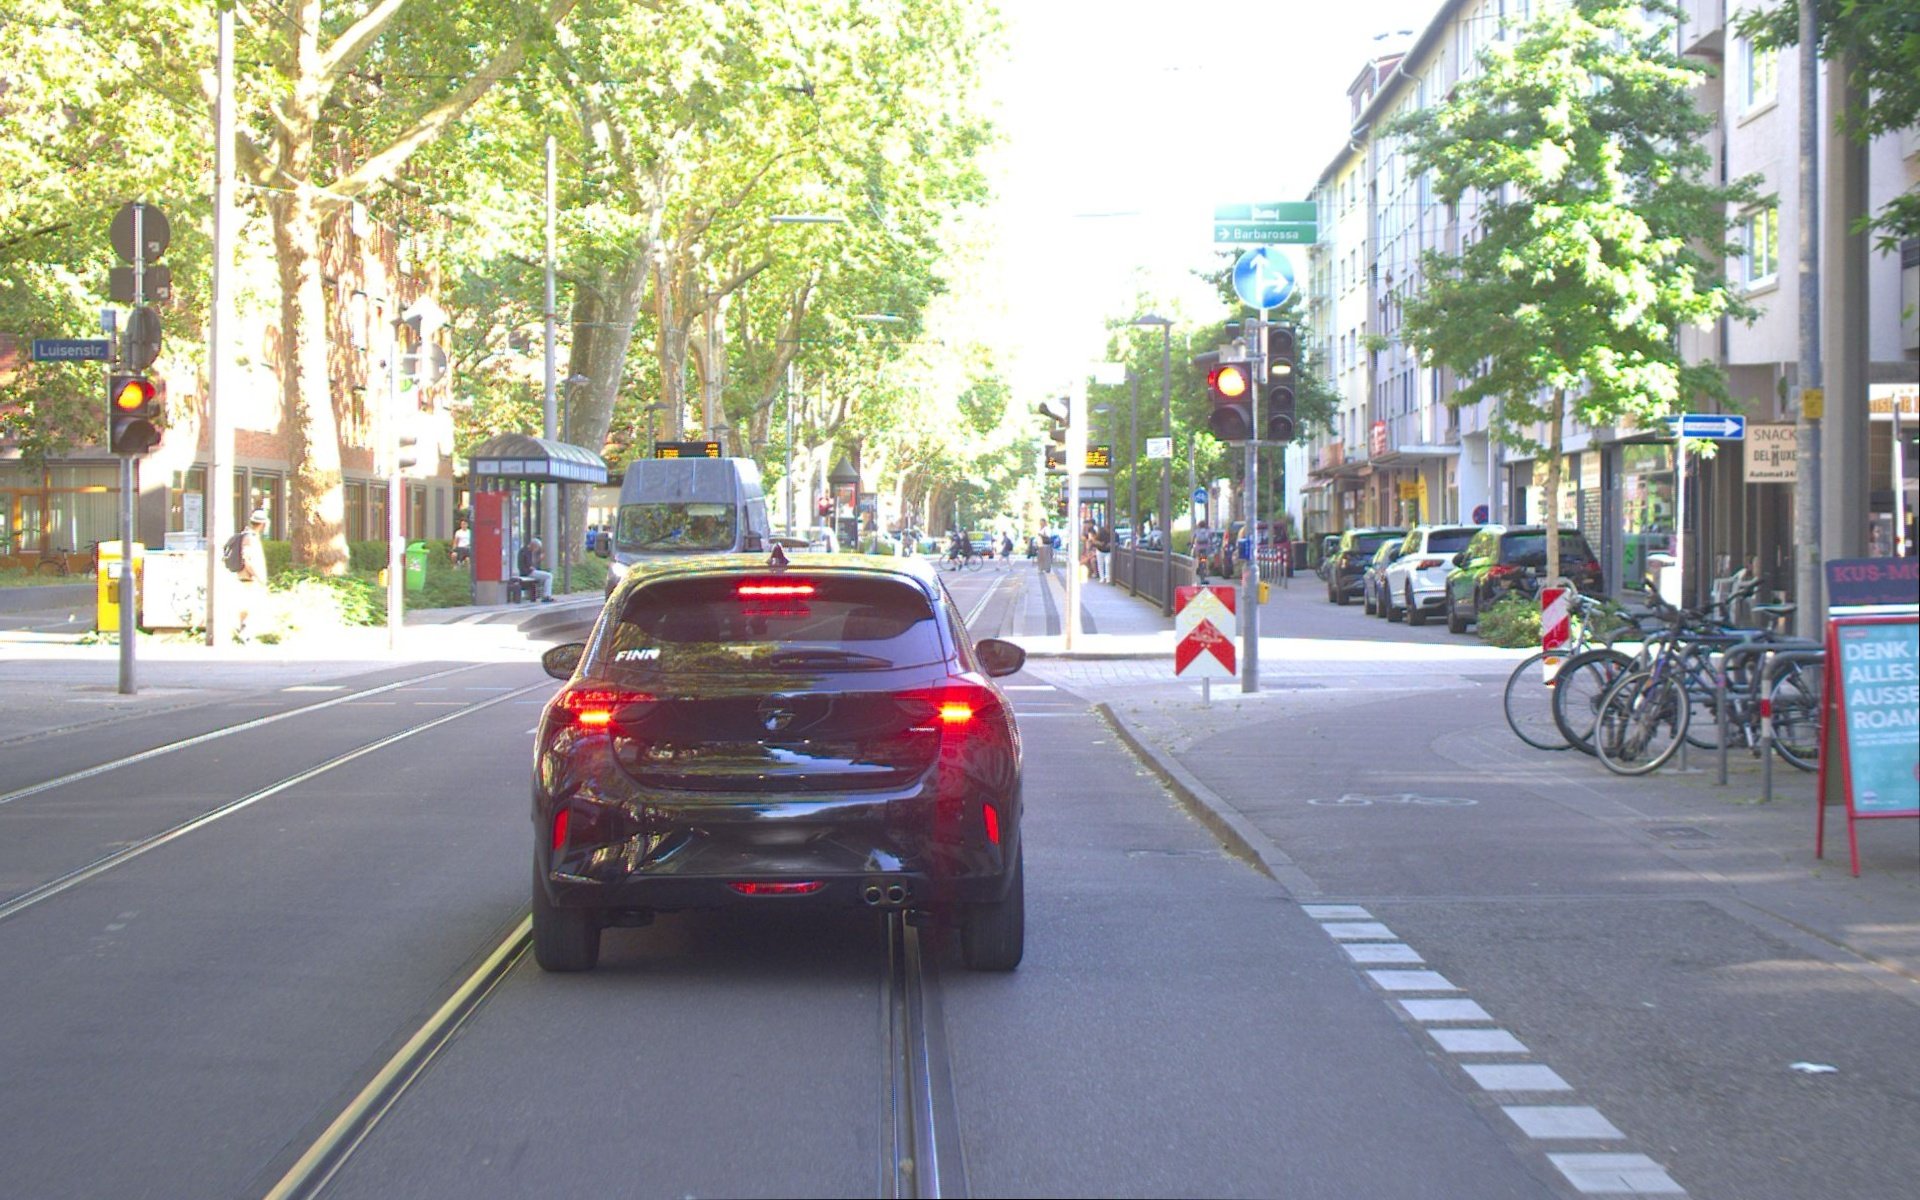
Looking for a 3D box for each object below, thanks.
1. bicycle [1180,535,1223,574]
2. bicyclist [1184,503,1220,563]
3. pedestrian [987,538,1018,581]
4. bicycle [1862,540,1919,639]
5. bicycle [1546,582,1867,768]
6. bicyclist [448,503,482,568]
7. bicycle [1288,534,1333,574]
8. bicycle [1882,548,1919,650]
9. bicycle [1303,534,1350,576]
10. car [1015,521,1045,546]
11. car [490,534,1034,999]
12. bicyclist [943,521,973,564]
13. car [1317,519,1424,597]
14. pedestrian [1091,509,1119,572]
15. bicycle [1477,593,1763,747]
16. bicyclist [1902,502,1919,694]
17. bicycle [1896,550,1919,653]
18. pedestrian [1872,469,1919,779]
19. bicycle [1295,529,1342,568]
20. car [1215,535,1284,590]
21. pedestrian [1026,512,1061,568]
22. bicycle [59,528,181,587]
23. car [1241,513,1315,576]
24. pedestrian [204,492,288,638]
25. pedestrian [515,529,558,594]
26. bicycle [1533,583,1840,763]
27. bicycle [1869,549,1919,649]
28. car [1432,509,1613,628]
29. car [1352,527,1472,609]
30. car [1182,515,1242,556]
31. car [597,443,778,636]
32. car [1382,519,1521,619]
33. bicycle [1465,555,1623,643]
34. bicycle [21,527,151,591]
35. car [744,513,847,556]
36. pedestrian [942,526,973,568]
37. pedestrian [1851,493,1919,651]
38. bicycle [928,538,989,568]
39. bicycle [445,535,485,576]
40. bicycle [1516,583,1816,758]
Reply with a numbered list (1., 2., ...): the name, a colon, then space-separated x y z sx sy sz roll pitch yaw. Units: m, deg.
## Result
1. bicycle: 7.111 -1.353 101.360 0.861 1.132 2.396 1 1 -5
2. bicyclist: 7.129 -1.976 101.349 0.861 1.753 1.054 1 1 -5
3. pedestrian: 1.747 -1.676 141.844 1.163 1.742 0.958 1 1 -4
4. bicycle: 12.205 -0.138 42.611 1.914 1.203 0.511 -1 1 -2
5. bicycle: 4.485 0.446 20.708 1.815 1.096 0.525 0 1 1
6. bicyclist: -13.444 -1.753 93.360 0.774 1.744 0.997 1 1 -1
7. bicycle: 9.887 -1.301 97.091 0.602 1.132 2.435 1 1 -10
8. bicycle: 12.165 -0.025 41.525 1.914 1.203 0.511 -1 2 -2
9. bicycle: 10.060 -1.232 94.429 0.621 1.132 2.440 1 1 -10
10. car: 4.368 -4.166 215.056 1.745 1.539 4.000 1 1 0
11. car: -0.674 0.518 13.061 1.759 1.503 3.683 0 1 -1
12. bicyclist: -0.083 -2.411 144.235 1.163 1.742 0.958 1 1 -4
13. car: 8.835 -0.909 74.243 1.857 1.610 4.398 1 1 1
14. pedestrian: 3.724 -1.527 88.284 0.631 1.571 0.870 2 1 1
15. bicycle: 4.430 0.467 23.128 1.815 0.991 0.481 1 1 -1
16. bicyclist: 8.908 -0.018 30.824 0.677 1.711 0.965 1 1 3
17. bicycle: 12.179 0.002 40.983 1.914 1.203 0.511 -1 2 -2
18. pedestrian: 5.836 0.137 19.828 0.876 1.752 1.046 1 1 28
19. bicycle: 10.522 -1.516 100.993 0.611 1.132 2.922 1 1 -10
20. car: 9.679 -1.257 115.309 1.993 1.791 4.000 1 1 0
21. pedestrian: 2.600 -1.870 107.170 0.751 1.703 0.762 1 1 36
22. bicycle: -17.410 -0.882 71.307 2.340 1.162 0.682 1 1 2
23. car: 10.038 -1.751 108.712 1.993 1.946 4.000 1 1 0
24. pedestrian: -9.246 -0.463 44.563 0.924 1.829 0.920 1 3 -3
25. pedestrian: -7.707 -0.701 62.569 0.705 1.164 0.659 -1 1 -2
26. bicycle: 4.567 0.456 21.644 1.815 1.096 0.481 1 1 -7
27. bicycle: 12.151 -0.025 42.059 1.914 1.203 0.511 0 2 -2
28. car: 8.258 -0.472 50.798 1.993 1.610 4.445 -2 1 1
29. car: 8.365 -0.602 63.865 1.744 1.435 4.247 1 1 1
30. car: 9.334 -2.391 127.563 1.993 1.481 4.000 1 1 1
31. car: -4.068 -0.907 52.302 2.113 2.728 6.115 -1 1 1
32. car: 8.255 -0.528 58.074 1.799 1.600 4.415 1 1 1
33. bicycle: 8.095 -0.016 47.710 2.127 1.183 0.681 1 1 10
34. bicycle: -17.906 -0.844 70.461 2.458 1.215 0.682 2 1 2
35. car: -7.205 -2.857 150.298 4.384 1.845 2.000 1 1 -6
36. pedestrian: -0.102 -2.181 141.553 1.163 1.742 0.958 1 1 -4
37. pedestrian: 9.209 -0.276 34.214 0.551 1.556 0.645 1 0 5
38. bicycle: -0.078 -1.960 144.244 2.480 1.236 0.958 1 1 -4
39. bicycle: -13.456 -1.213 93.516 0.782 1.107 2.596 1 1 -2
40. bicycle: 4.551 0.450 22.189 1.815 1.096 0.498 1 1 -7
